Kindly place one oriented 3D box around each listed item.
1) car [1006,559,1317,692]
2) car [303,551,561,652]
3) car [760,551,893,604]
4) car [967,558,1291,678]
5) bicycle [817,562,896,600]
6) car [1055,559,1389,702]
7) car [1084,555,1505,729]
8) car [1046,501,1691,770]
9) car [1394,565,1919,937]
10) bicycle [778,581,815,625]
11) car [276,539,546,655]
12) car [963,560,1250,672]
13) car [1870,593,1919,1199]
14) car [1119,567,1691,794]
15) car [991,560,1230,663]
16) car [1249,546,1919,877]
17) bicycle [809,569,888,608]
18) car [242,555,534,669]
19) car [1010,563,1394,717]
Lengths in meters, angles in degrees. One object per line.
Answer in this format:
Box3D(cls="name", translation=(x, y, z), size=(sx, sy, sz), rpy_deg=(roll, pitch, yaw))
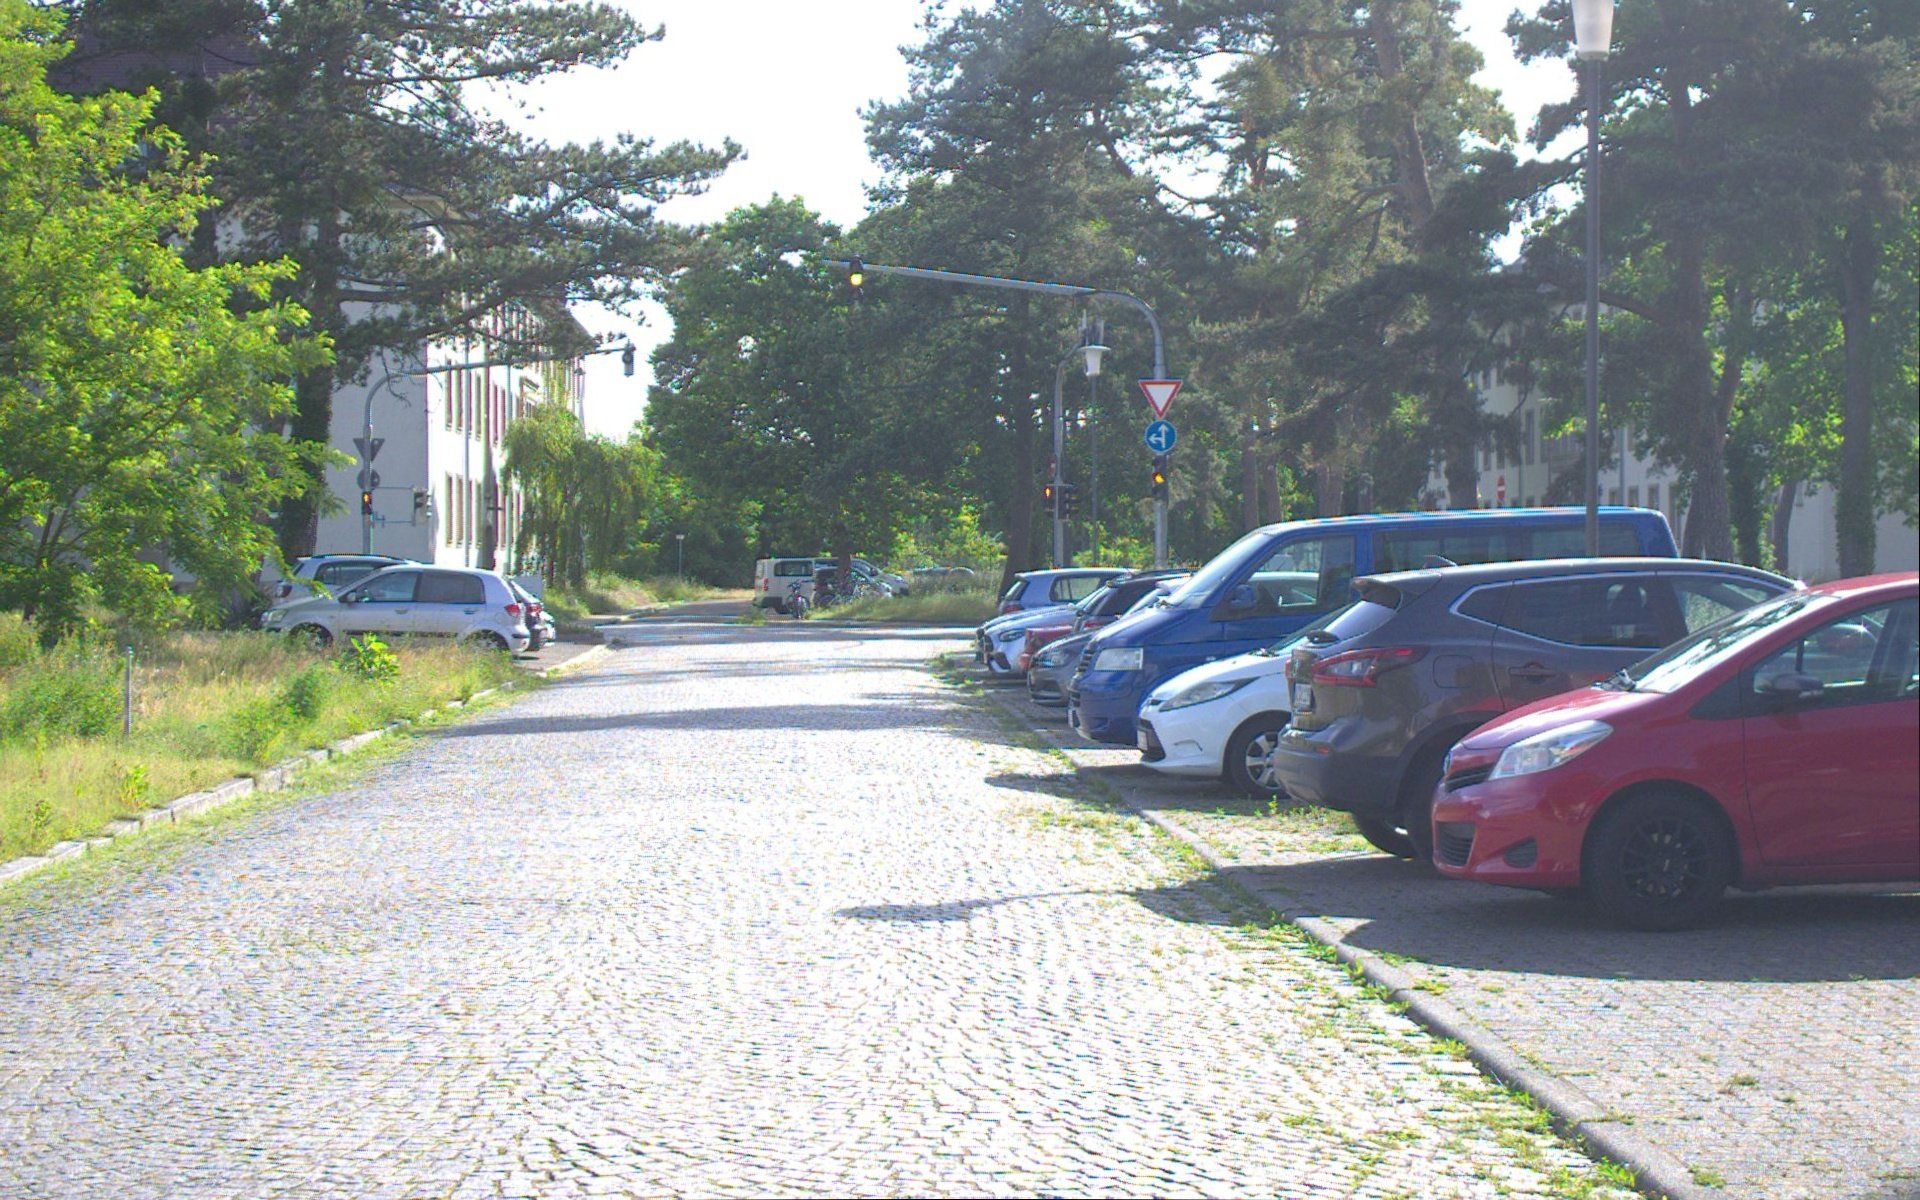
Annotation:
Box3D(cls="car", translation=(2.346, 0.280, 40.565), size=(3.477, 1.524, 1.646), rpy_deg=(0, 1, -4))
Box3D(cls="car", translation=(-8.739, 0.013, 57.129), size=(3.986, 1.448, 2.000), rpy_deg=(3, 1, -3))
Box3D(cls="car", translation=(-4.545, -0.768, 116.781), size=(4.480, 1.722, 2.000), rpy_deg=(1, 1, -3))
Box3D(cls="car", translation=(2.189, 0.221, 45.102), size=(4.033, 1.524, 1.646), rpy_deg=(0, 1, -6))
Box3D(cls="bicycle", translation=(-3.024, -0.562, 100.420), size=(2.172, 1.096, 0.807), rpy_deg=(0, 1, -12))
Box3D(cls="car", translation=(2.853, 0.316, 37.890), size=(3.477, 1.524, 1.646), rpy_deg=(0, 1, -4))
Box3D(cls="car", translation=(3.074, 0.374, 32.088), size=(3.694, 1.461, 1.645), rpy_deg=(-2, 1, -2))
Box3D(cls="car", translation=(3.120, 0.242, 26.906), size=(4.676, 2.007, 2.084), rpy_deg=(0, 1, -5))
Box3D(cls="car", translation=(3.930, 0.615, 15.156), size=(3.762, 1.525, 1.646), rpy_deg=(0, 1, -4))
Box3D(cls="bicycle", translation=(-4.565, 0.076, 95.838), size=(0.804, 1.165, 2.181), rpy_deg=(-2, 1, -8))
Box3D(cls="car", translation=(-8.697, -0.058, 54.727), size=(3.986, 1.596, 2.000), rpy_deg=(3, 1, -3))
Box3D(cls="car", translation=(2.007, 0.208, 47.869), size=(3.835, 1.524, 1.646), rpy_deg=(0, 1, -4))
Box3D(cls="car", translation=(4.158, 0.704, 7.566), size=(3.827, 1.473, 1.646), rpy_deg=(-1, 1, -3))
Box3D(cls="car", translation=(3.078, 0.536, 24.226), size=(3.718, 1.483, 1.646), rpy_deg=(-1, 1, -5))
Box3D(cls="car", translation=(2.187, 0.151, 50.518), size=(3.343, 1.477, 1.646), rpy_deg=(0, 1, -4))
Box3D(cls="car", translation=(3.585, 0.529, 17.821), size=(3.935, 1.616, 1.772), rpy_deg=(0, 1, -4))
Box3D(cls="bicycle", translation=(-3.225, -0.332, 99.348), size=(2.172, 1.096, 0.807), rpy_deg=(0, 1, -12))
Box3D(cls="car", translation=(-8.163, 0.154, 49.355), size=(3.986, 1.595, 2.000), rpy_deg=(0, 1, -5))
Box3D(cls="car", translation=(2.422, 0.385, 34.953), size=(3.674, 1.462, 1.646), rpy_deg=(-1, 1, -4))
